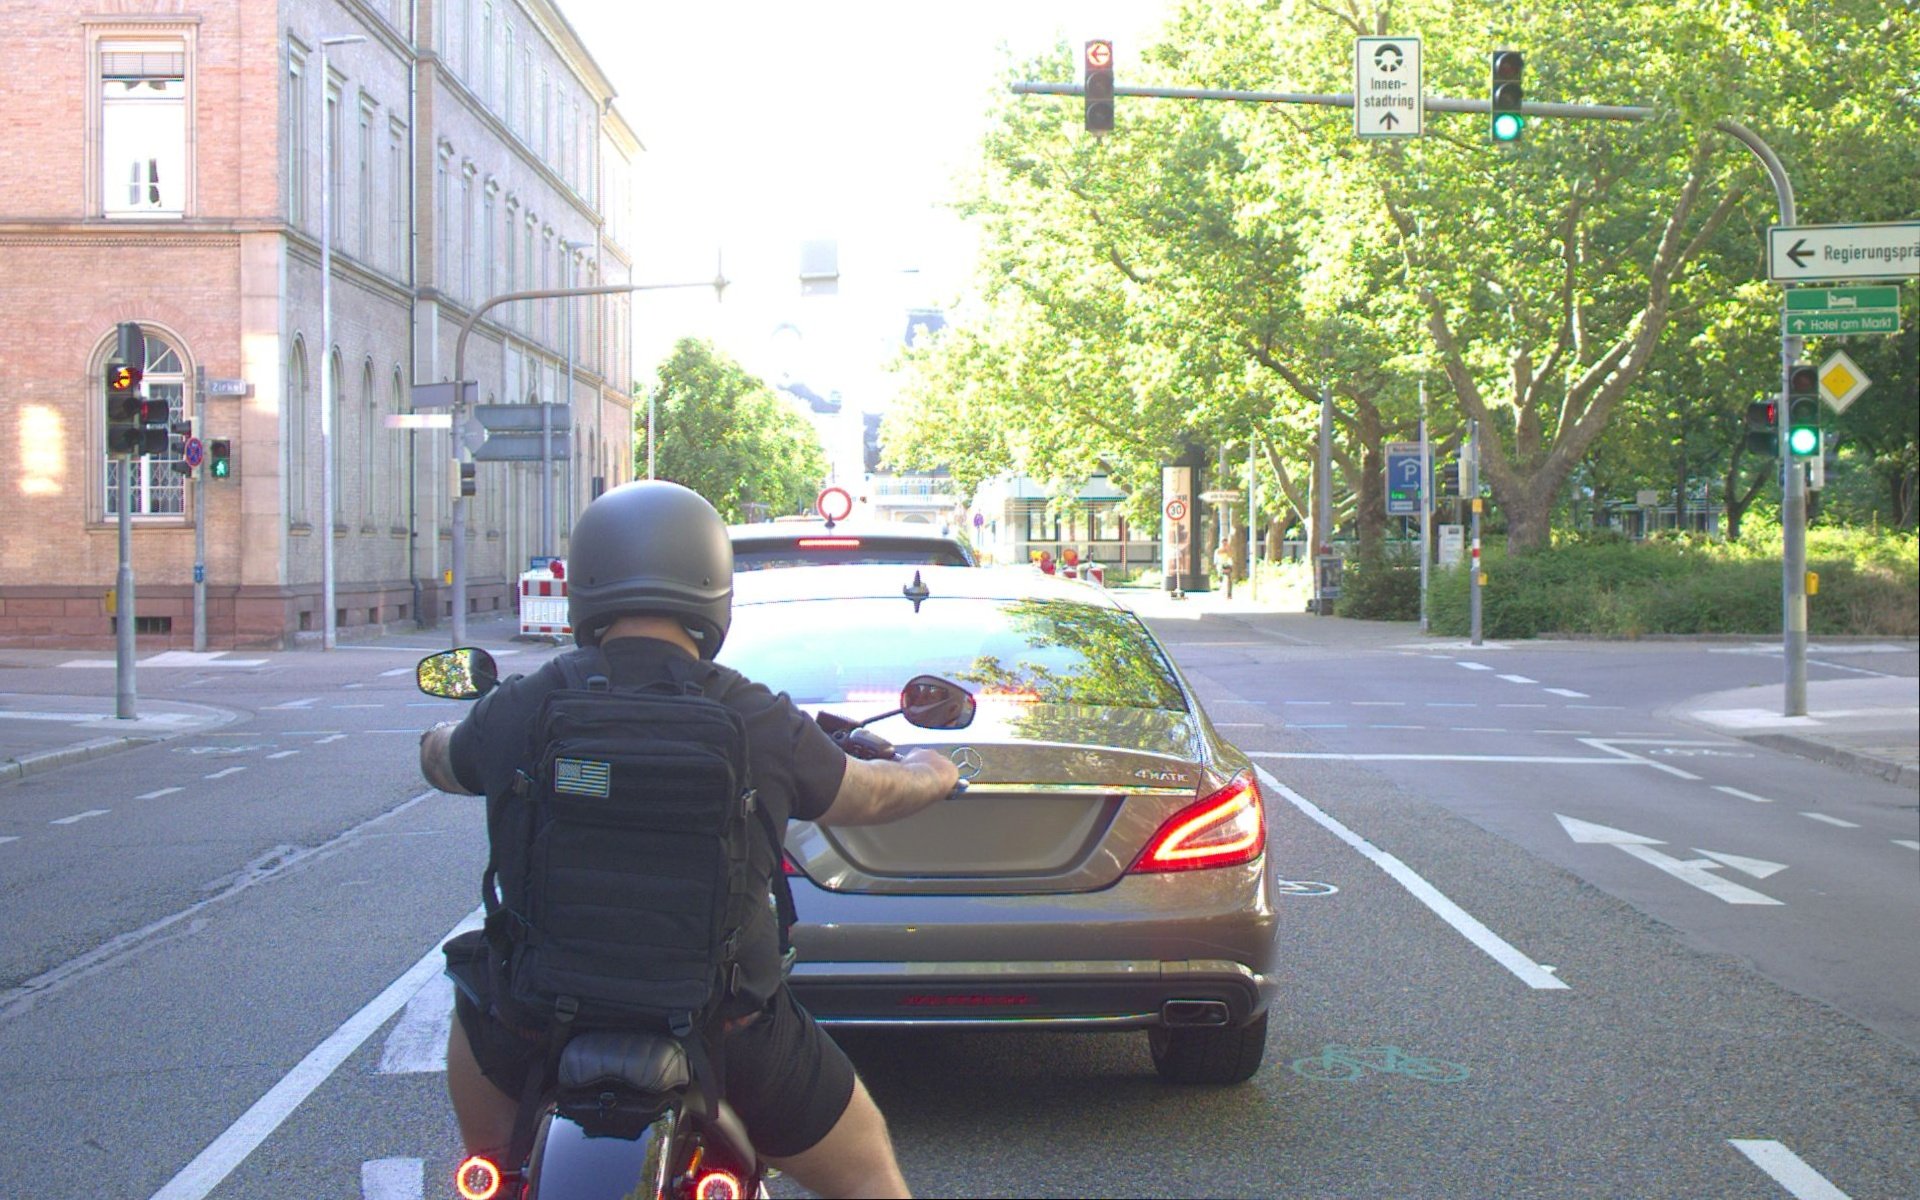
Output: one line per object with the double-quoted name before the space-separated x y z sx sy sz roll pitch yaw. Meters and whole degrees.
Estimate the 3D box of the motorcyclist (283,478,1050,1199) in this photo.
"motorcyclist" -0.420 0.621 5.273 1.061 1.577 0.908 1 0 -1

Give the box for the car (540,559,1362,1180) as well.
"car" -0.264 0.610 10.369 1.901 1.436 4.290 0 1 -8

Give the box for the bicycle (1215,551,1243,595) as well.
"bicycle" 7.296 -0.725 93.285 0.716 1.168 2.176 1 1 3

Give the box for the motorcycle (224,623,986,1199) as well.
"motorcycle" -0.470 0.739 5.545 0.962 1.352 2.320 1 1 -1

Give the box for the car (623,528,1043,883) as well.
"car" -0.650 0.419 16.776 1.813 1.530 3.849 0 1 -3

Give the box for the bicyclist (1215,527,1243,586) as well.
"bicyclist" 7.306 -1.188 93.289 0.716 1.577 0.936 1 0 3
